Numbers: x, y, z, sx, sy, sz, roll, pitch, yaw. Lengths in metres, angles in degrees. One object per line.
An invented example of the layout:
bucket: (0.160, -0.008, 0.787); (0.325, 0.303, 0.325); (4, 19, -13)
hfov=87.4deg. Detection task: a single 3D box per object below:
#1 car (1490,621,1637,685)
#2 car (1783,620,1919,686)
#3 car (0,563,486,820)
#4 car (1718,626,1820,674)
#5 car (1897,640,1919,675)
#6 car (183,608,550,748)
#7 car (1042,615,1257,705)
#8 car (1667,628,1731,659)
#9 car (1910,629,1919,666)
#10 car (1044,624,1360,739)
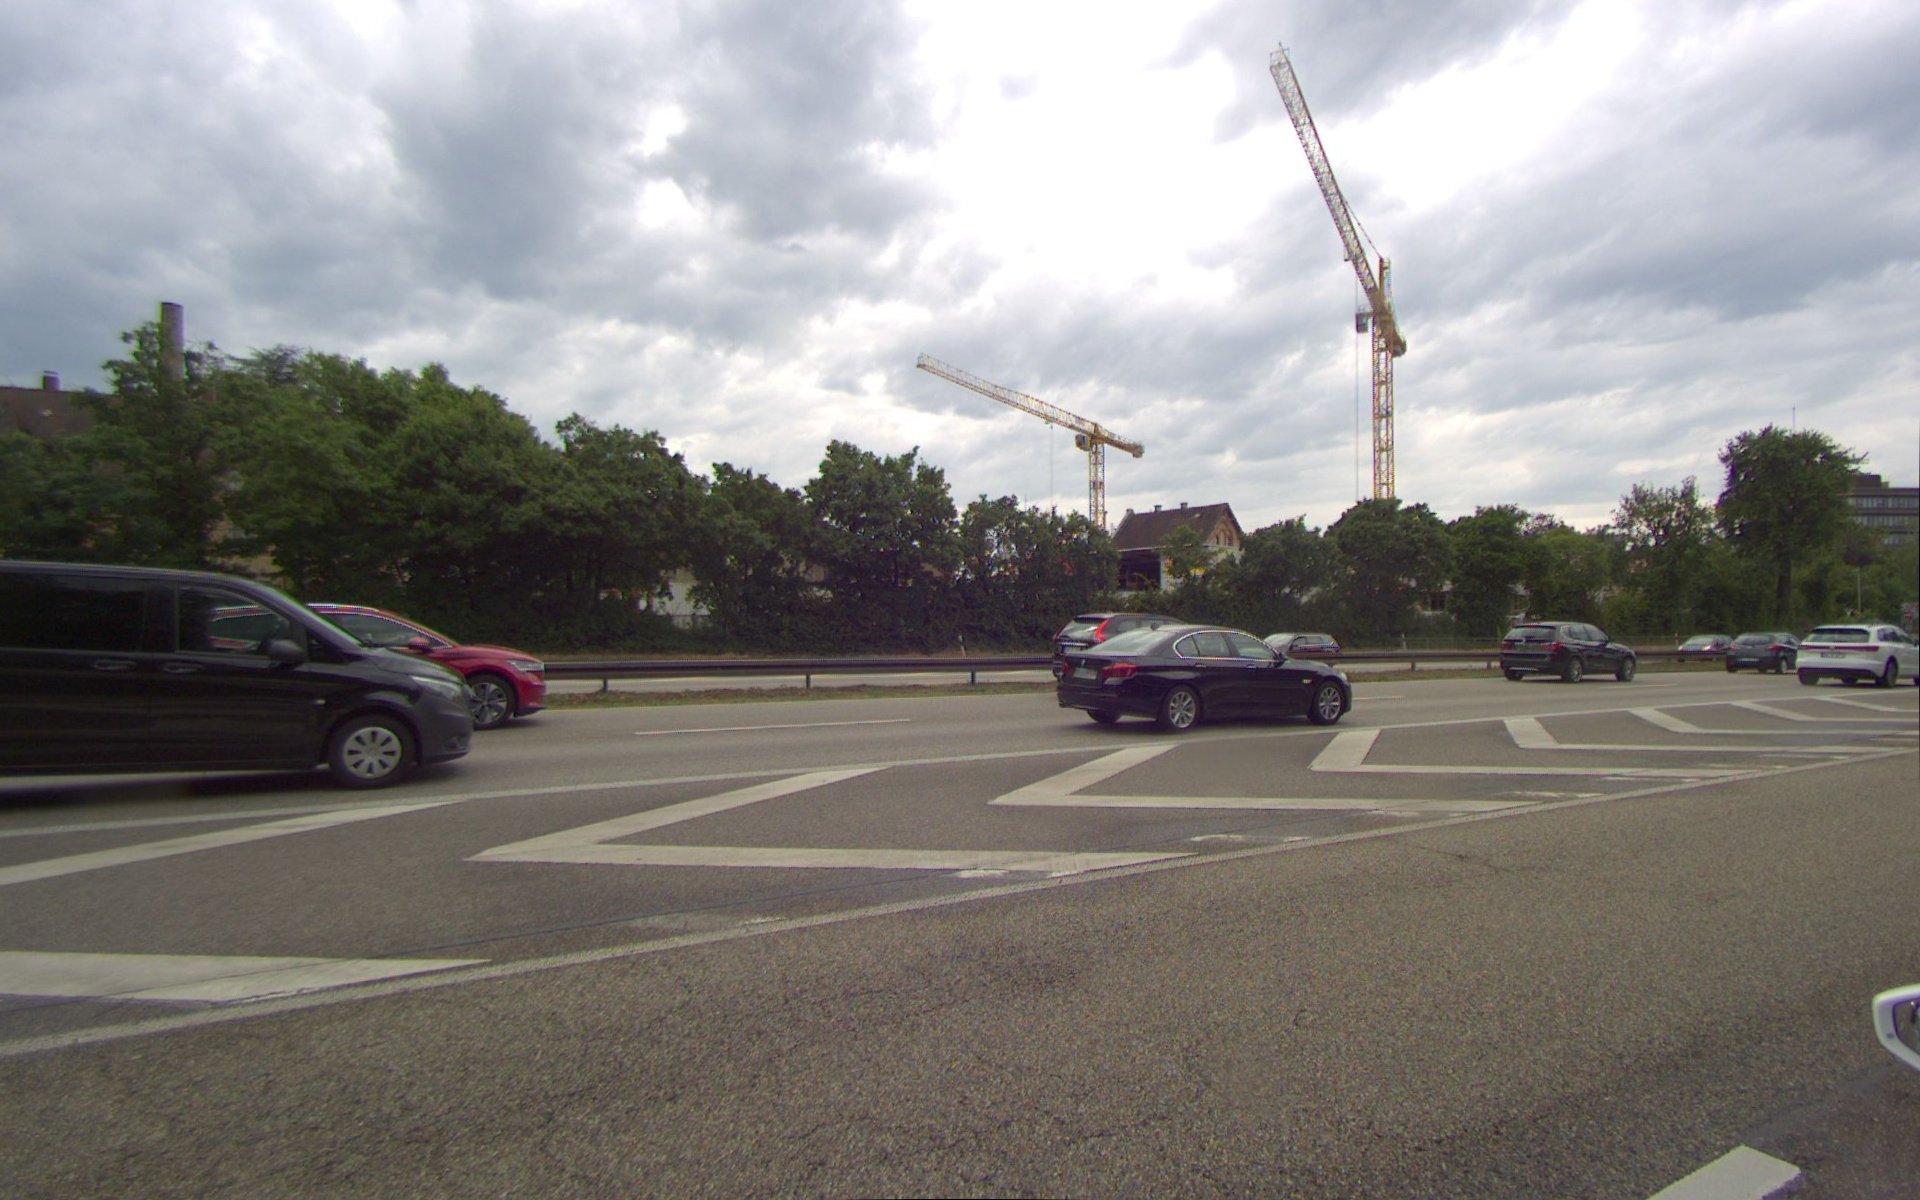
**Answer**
car: (17.284, 1.463, 28.713); (4.258, 1.703, 1.880); (1, -2, -32)
car: (25.202, 1.443, 28.138); (4.455, 1.714, 1.936); (1, -2, -31)
car: (-6.803, 0.695, 8.619); (4.758, 1.875, 1.983); (1, -1, -32)
car: (29.337, 1.783, 36.401); (3.963, 1.629, 1.678); (1, 0, -32)
car: (38.376, 2.251, 39.473); (3.312, 1.324, 1.378); (1, -2, -31)
car: (-7.597, 0.945, 13.223); (3.897, 1.588, 1.759); (1, -2, -29)
car: (3.893, 1.159, 20.449); (4.217, 1.657, 1.743); (1, -1, -30)
car: (41.851, 2.452, 56.894); (3.693, 1.654, 1.678); (1, 0, -32)
car: (45.217, 2.201, 45.926); (3.693, 1.654, 1.678); (1, 0, -32)
car: (3.622, 1.102, 14.820); (4.608, 1.476, 1.706); (1, -1, -29)
